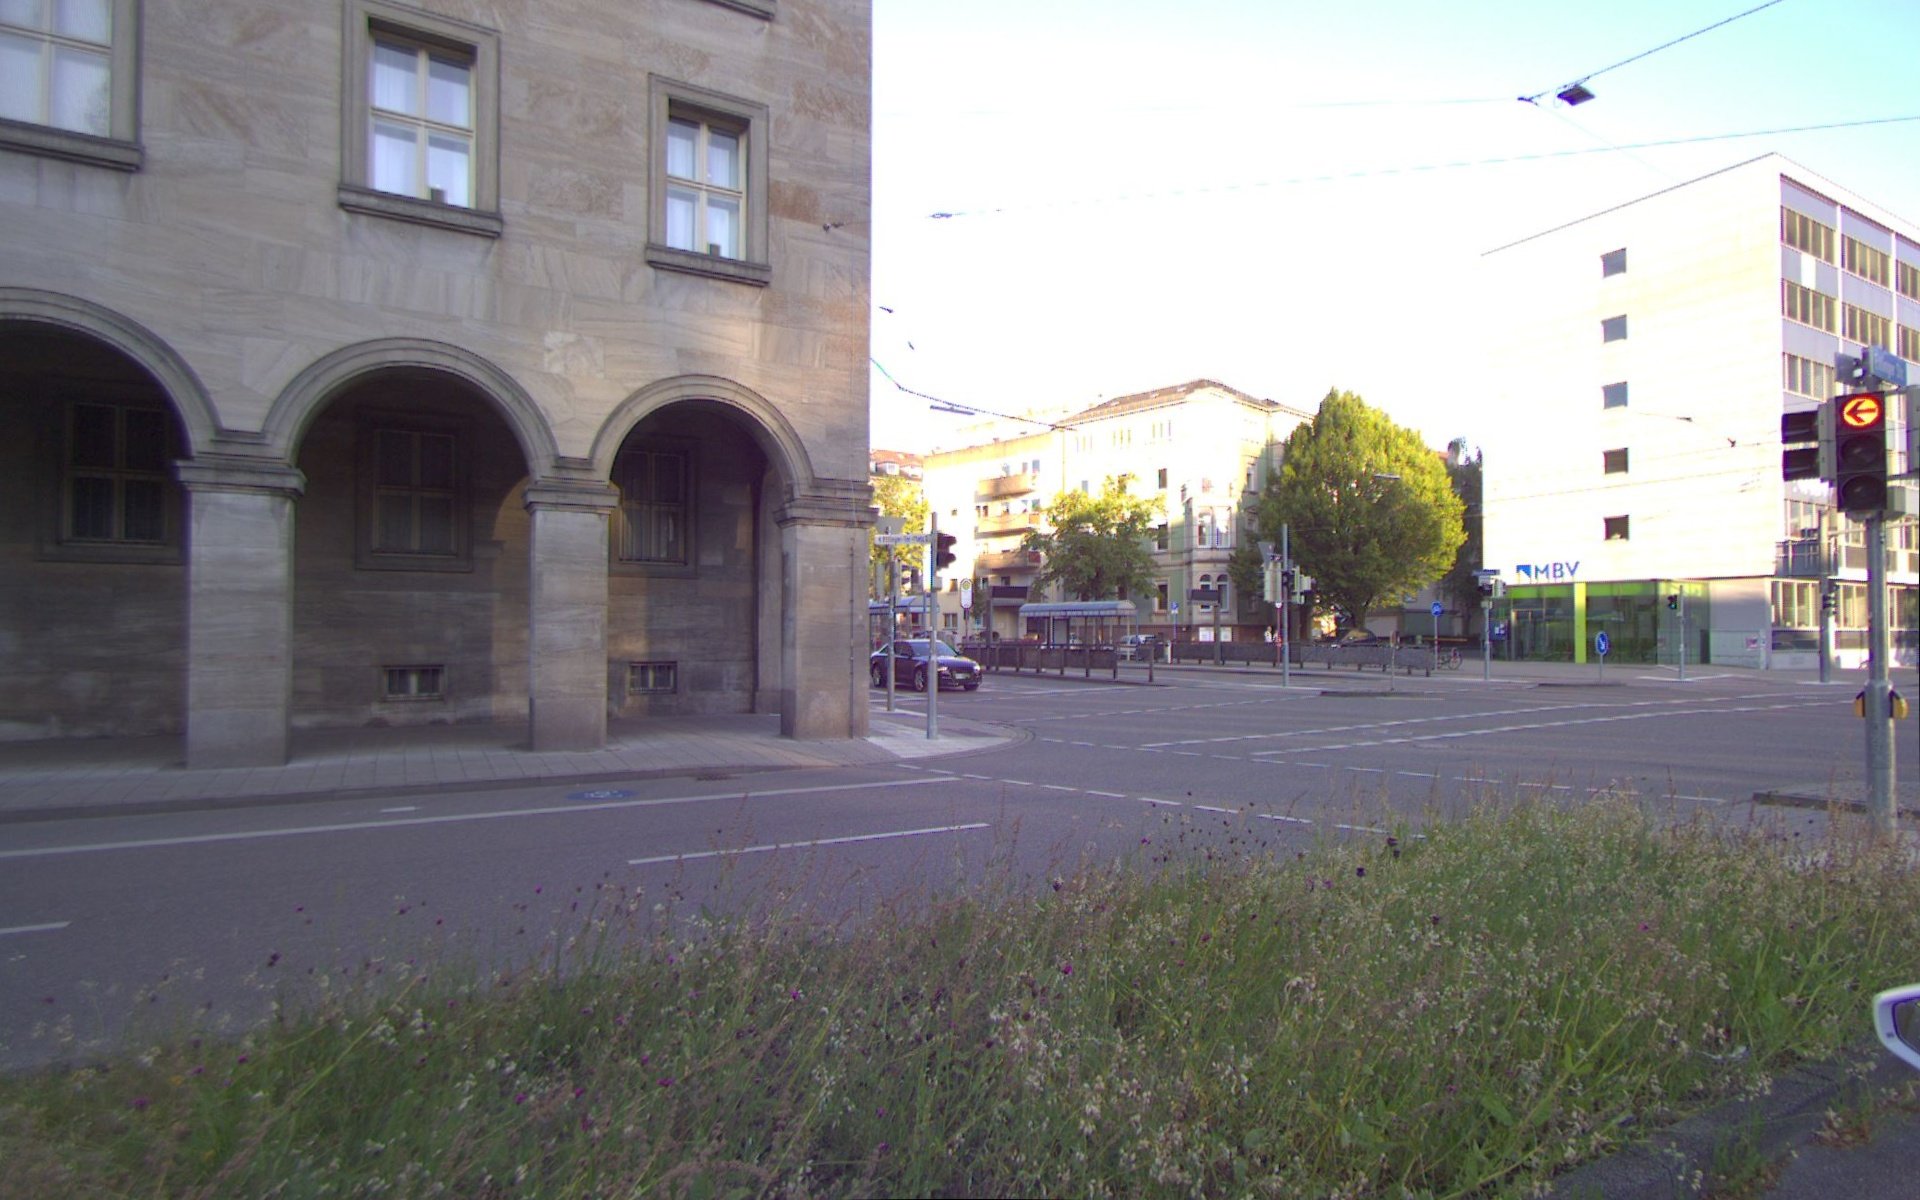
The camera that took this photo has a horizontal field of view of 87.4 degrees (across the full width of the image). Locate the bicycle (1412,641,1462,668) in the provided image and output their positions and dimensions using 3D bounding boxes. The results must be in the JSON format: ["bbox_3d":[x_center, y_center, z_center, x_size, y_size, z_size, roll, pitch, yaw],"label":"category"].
[{"bbox_3d":[21.158,2.408,44.536,2.183,1.127,0.834,1,-2,-26],"label":"bicycle"}]

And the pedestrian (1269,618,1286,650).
[{"bbox_3d":[17.828,1.915,56.381,0.718,1.813,0.634,2,-2,-43],"label":"pedestrian"}]

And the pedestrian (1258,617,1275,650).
[{"bbox_3d":[17.112,1.871,56.094,0.718,1.813,0.634,2,-2,-44],"label":"pedestrian"}]

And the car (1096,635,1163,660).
[{"bbox_3d":[9.982,2.776,59.237,3.545,1.390,1.830,-2,-3,45],"label":"car"}]

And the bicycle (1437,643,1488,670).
[{"bbox_3d":[21.683,2.417,43.369,2.183,1.127,0.834,1,-2,-26],"label":"bicycle"}]

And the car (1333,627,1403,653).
[{"bbox_3d":[22.317,2.185,54.918,3.553,1.390,1.826,1,-2,-32],"label":"car"}]

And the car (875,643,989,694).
[{"bbox_3d":[-0.916,1.974,29.793,1.791,1.344,4.120,1,-2,-27],"label":"car"}]
